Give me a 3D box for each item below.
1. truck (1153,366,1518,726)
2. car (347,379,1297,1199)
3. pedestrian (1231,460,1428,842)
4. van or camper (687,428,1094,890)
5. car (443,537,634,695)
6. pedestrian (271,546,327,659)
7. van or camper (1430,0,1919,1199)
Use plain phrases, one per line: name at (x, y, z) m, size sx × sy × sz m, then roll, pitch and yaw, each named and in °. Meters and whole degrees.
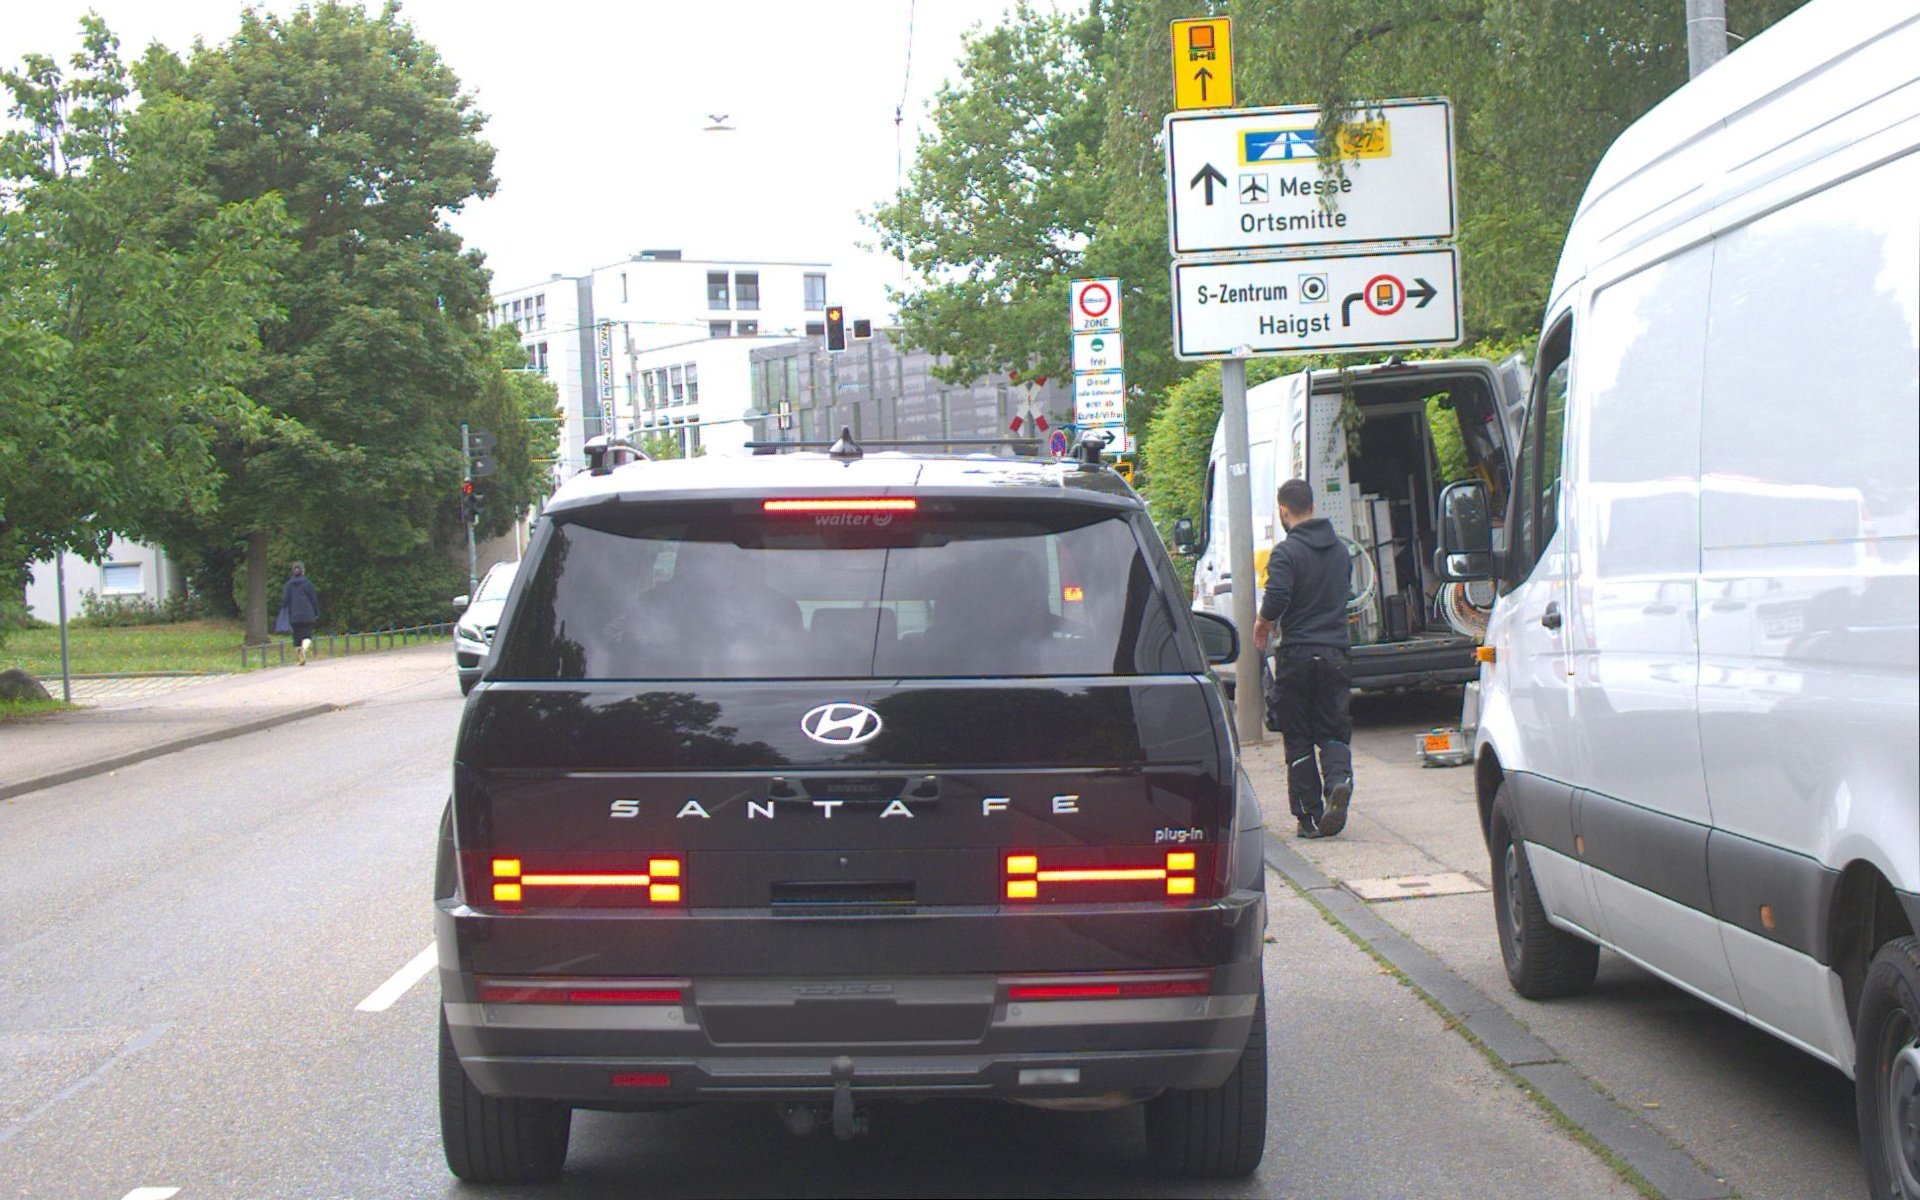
truck at (2.930, -0.421, 28.043) m, size 1.942 × 2.553 × 5.217 m, roll -4°, pitch 1°, yaw -4°
car at (-0.296, 0.437, 8.883) m, size 1.889 × 1.813 × 4.000 m, roll 0°, pitch 1°, yaw -1°
pedestrian at (1.785, 0.235, 16.708) m, size 0.757 × 1.791 × 0.873 m, roll -1°, pitch 1°, yaw -6°
van or camper at (-0.332, 0.230, 17.382) m, size 1.754 × 2.007 × 4.000 m, roll -2°, pitch 1°, yaw -1°
car at (-4.937, 0.145, 40.739) m, size 1.785 × 1.648 × 4.121 m, roll -4°, pitch 1°, yaw -2°
pedestrian at (-10.273, 0.034, 53.456) m, size 0.738 × 1.709 × 0.793 m, roll -2°, pitch 1°, yaw -7°
van or camper at (2.618, -0.082, 8.026) m, size 1.993 × 2.611 × 6.541 m, roll -2°, pitch 1°, yaw -1°
